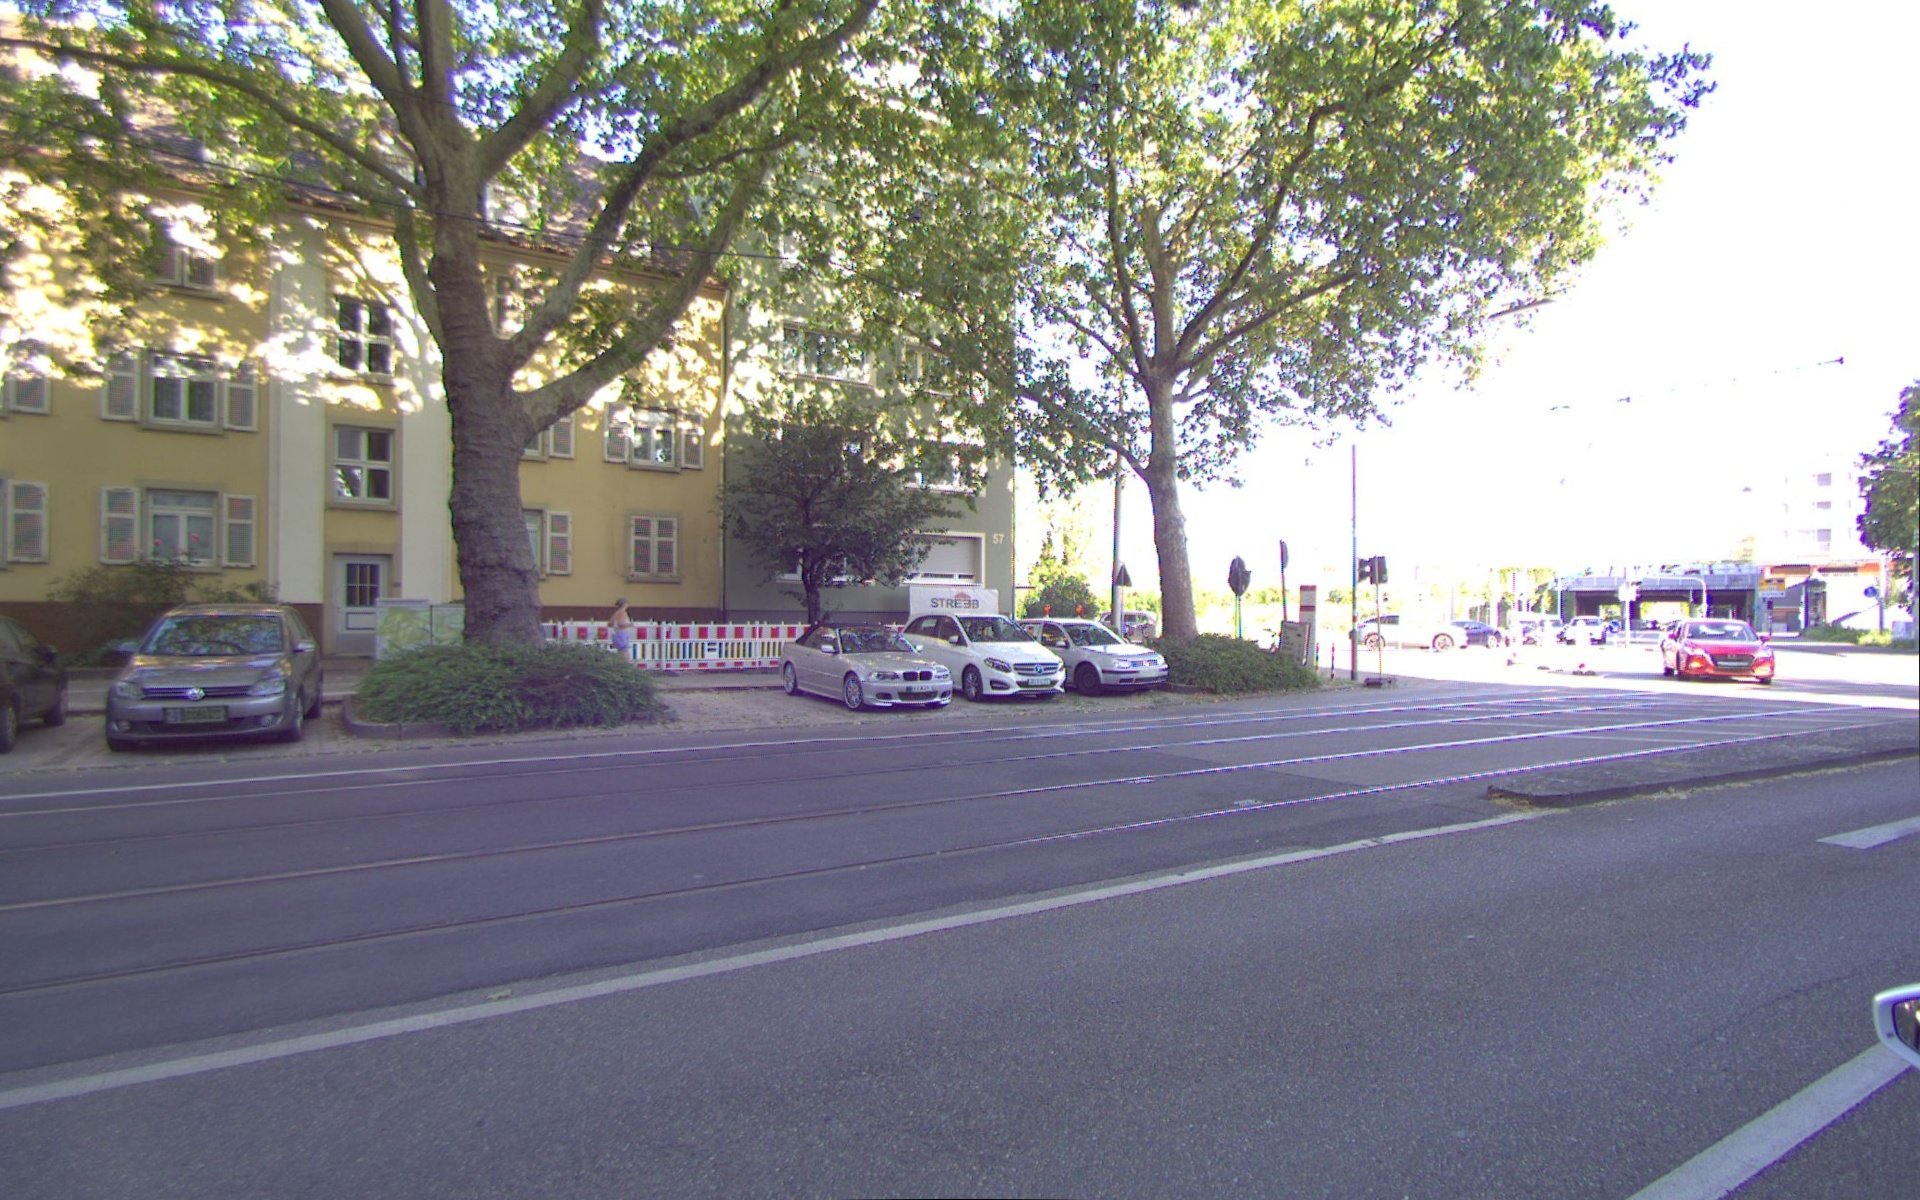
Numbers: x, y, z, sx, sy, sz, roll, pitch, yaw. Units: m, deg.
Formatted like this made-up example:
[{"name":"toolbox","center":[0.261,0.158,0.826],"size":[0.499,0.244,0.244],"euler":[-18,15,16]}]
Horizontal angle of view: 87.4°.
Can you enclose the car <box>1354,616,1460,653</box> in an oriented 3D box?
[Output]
[{"name":"car","center":[19.474,1.470,43.797],"size":[4.128,1.539,1.801],"euler":[0,-1,26]}]

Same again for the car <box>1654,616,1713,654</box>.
[{"name":"car","center":[32.750,1.552,45.577],"size":[1.964,1.572,4.185],"euler":[2,0,33]}]

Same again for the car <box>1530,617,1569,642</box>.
[{"name":"car","center":[40.488,1.987,68.964],"size":[1.860,1.606,3.823],"euler":[2,0,37]}]

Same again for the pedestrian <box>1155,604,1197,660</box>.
[{"name":"pedestrian","center":[6.727,0.991,31.232],"size":[0.919,1.669,0.841],"euler":[2,0,-30]}]

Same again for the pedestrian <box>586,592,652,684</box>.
[{"name":"pedestrian","center":[-6.424,0.704,18.930],"size":[0.947,1.683,0.766],"euler":[2,0,-39]}]

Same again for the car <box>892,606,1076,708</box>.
[{"name":"car","center":[0.342,0.986,19.152],"size":[1.651,1.669,3.949],"euler":[1,0,-31]}]

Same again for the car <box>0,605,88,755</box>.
[{"name":"car","center":[-11.473,0.836,11.382],"size":[1.652,1.518,3.778],"euler":[1,0,-29]}]

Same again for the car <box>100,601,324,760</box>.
[{"name":"car","center":[-9.007,0.835,12.413],"size":[1.652,1.602,3.953],"euler":[1,0,-29]}]

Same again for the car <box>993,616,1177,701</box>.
[{"name":"car","center":[2.433,1.113,20.526],"size":[1.651,1.473,3.949],"euler":[1,0,-31]}]

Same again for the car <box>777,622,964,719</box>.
[{"name":"car","center":[-1.657,1.112,17.307],"size":[1.651,1.370,3.949],"euler":[1,0,-31]}]

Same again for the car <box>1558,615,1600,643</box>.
[{"name":"car","center":[37.591,1.769,60.967],"size":[1.860,1.606,3.823],"euler":[2,0,37]}]

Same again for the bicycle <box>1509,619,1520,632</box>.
[{"name":"bicycle","center":[43.665,2.018,79.086],"size":[0.519,0.995,1.571],"euler":[0,-1,36]}]

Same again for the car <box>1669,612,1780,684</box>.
[{"name":"car","center":[18.575,1.095,24.512],"size":[1.990,1.586,4.475],"euler":[0,-1,36]}]

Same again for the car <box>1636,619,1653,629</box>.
[{"name":"car","center":[85.983,2.977,126.243],"size":[1.555,1.277,3.421],"euler":[0,-1,30]}]
